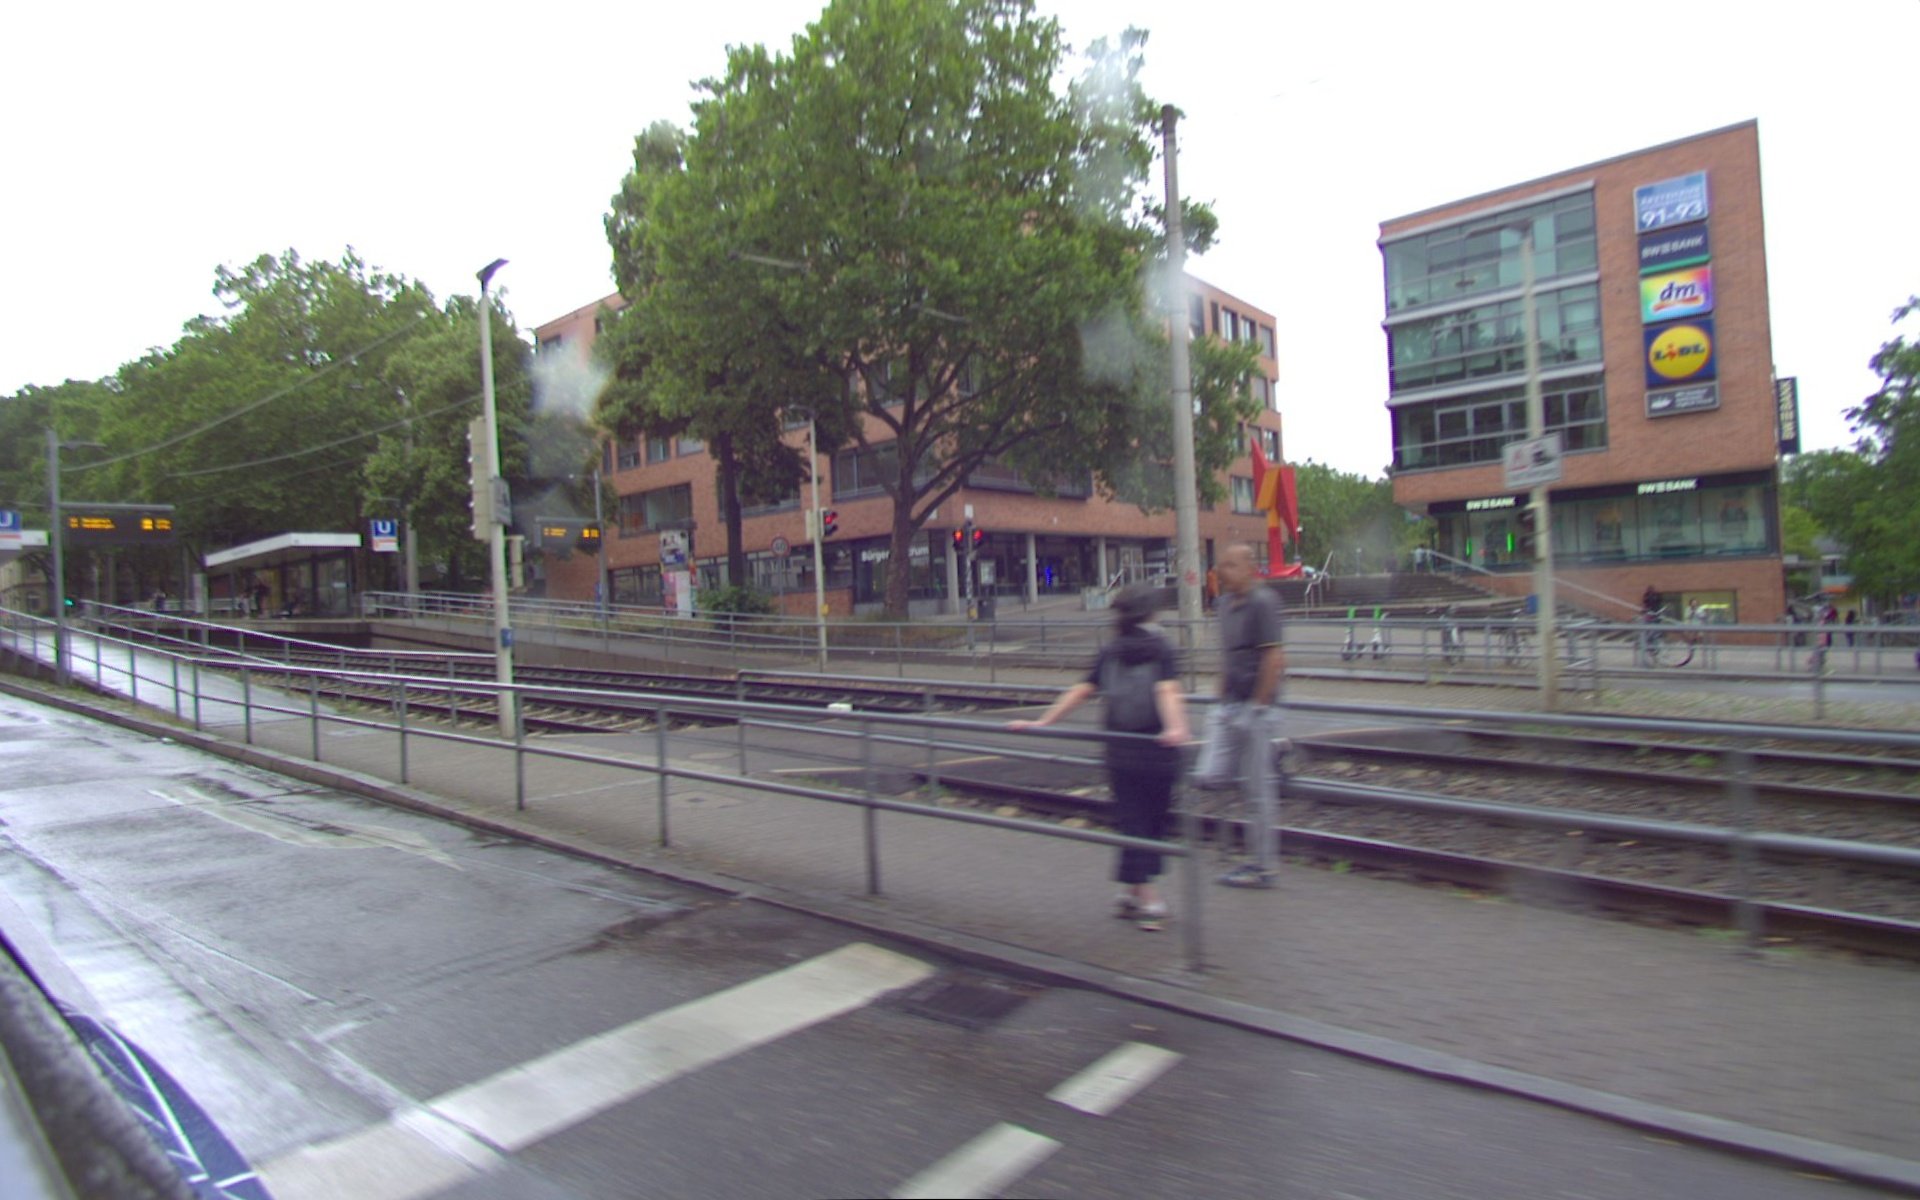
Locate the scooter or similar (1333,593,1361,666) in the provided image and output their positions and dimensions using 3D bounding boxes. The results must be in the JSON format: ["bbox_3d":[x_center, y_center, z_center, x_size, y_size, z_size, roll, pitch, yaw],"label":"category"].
[{"bbox_3d":[7.722,0.571,20.179,0.450,1.381,1.495,-1,0,22],"label":"scooter or similar"}]

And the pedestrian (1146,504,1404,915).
[{"bbox_3d":[1.589,0.484,5.097,1.000,1.812,0.817,-1,0,38],"label":"pedestrian"}]

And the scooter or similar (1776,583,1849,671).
[{"bbox_3d":[13.962,0.416,16.600,0.450,1.381,1.495,-1,0,22],"label":"scooter or similar"}]

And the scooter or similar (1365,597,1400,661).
[{"bbox_3d":[8.203,0.540,19.698,0.475,1.203,1.708,-1,0,18],"label":"scooter or similar"}]

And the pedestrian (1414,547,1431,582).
[{"bbox_3d":[23.678,-1.811,51.845,0.725,1.743,0.642,-1,0,27],"label":"pedestrian"}]

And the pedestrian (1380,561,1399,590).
[{"bbox_3d":[23.697,-1.347,55.807,0.616,1.562,0.718,-1,0,-14],"label":"pedestrian"}]

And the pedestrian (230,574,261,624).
[{"bbox_3d":[-30.423,-0.033,43.096,0.882,2.078,0.827,-1,0,36],"label":"pedestrian"}]

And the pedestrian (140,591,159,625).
[{"bbox_3d":[-42.757,0.422,53.369,0.703,1.804,0.668,-1,-1,40],"label":"pedestrian"}]

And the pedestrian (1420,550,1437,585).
[{"bbox_3d":[23.151,-1.597,49.979,0.646,1.743,0.612,-1,0,32],"label":"pedestrian"}]

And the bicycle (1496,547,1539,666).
[{"bbox_3d":[10.036,0.095,18.184,0.517,2.029,1.876,-1,1,33],"label":"bicycle"}]

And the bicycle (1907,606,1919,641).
[{"bbox_3d":[32.338,0.755,32.817,2.367,1.109,0.840,-1,0,43],"label":"bicycle"}]

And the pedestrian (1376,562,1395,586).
[{"bbox_3d":[27.333,-1.651,65.070,0.841,1.542,0.731,-1,0,-25],"label":"pedestrian"}]

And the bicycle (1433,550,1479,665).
[{"bbox_3d":[9.193,0.110,18.717,0.517,2.029,1.876,-1,1,33],"label":"bicycle"}]

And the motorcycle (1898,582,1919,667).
[{"bbox_3d":[16.040,0.393,16.315,0.863,1.381,2.629,-1,0,33],"label":"motorcycle"}]

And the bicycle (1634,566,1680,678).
[{"bbox_3d":[11.705,0.324,17.024,0.555,1.710,2.074,0,3,33],"label":"bicycle"}]

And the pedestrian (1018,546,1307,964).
[{"bbox_3d":[0.915,0.603,4.558,1.000,1.617,0.827,-1,0,38],"label":"pedestrian"}]

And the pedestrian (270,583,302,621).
[{"bbox_3d":[-26.642,0.080,40.012,0.882,1.494,0.772,-1,0,36],"label":"pedestrian"}]

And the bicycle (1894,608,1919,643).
[{"bbox_3d":[31.370,0.800,32.166,2.360,1.109,0.692,-1,0,32],"label":"bicycle"}]

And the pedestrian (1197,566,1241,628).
[{"bbox_3d":[7.626,-0.099,29.834,0.779,1.757,1.073,-1,4,-17],"label":"pedestrian"}]

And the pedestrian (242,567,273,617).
[{"bbox_3d":[-29.395,-0.327,42.334,0.882,2.078,0.827,-1,0,36],"label":"pedestrian"}]

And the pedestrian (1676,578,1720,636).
[{"bbox_3d":[22.534,0.206,30.890,1.008,1.743,0.887,-1,0,39],"label":"pedestrian"}]

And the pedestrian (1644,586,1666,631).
[{"bbox_3d":[24.807,0.311,36.135,0.591,1.578,0.513,-1,0,38],"label":"pedestrian"}]
